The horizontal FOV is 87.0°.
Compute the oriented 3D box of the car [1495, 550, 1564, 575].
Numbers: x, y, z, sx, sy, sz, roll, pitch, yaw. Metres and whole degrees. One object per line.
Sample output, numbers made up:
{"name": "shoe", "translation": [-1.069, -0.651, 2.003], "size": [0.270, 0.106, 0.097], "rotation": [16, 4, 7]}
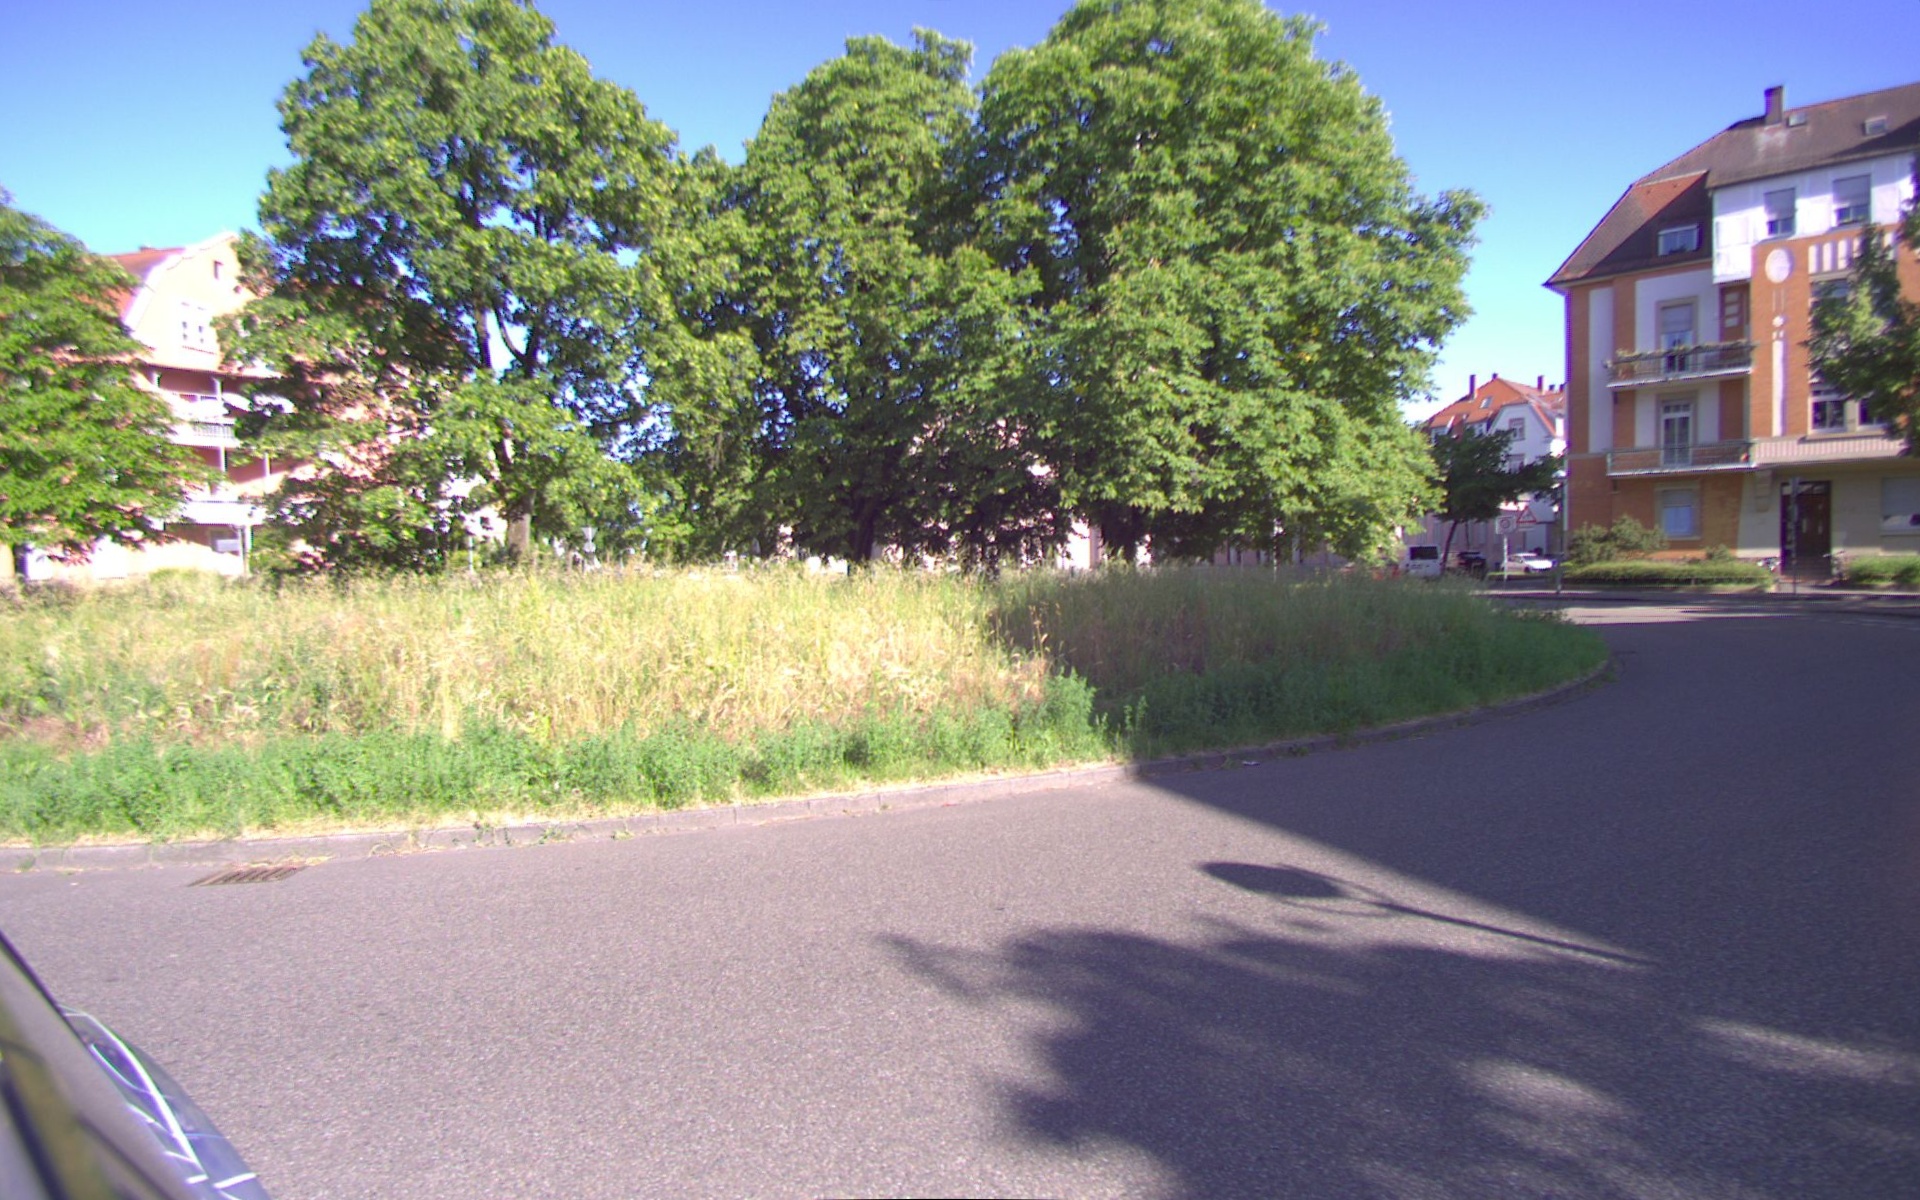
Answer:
{"name": "car", "translation": [36.185, -2.364, 64.414], "size": [1.716, 1.491, 4.008], "rotation": [-2, 2, -9]}

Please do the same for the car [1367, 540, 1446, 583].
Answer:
{"name": "car", "translation": [22.290, -1.927, 50.652], "size": [1.970, 2.028, 4.004], "rotation": [-1, 2, -3]}

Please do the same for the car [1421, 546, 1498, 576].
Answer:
{"name": "car", "translation": [26.834, -2.082, 54.530], "size": [1.716, 1.491, 4.008], "rotation": [-2, 2, -9]}

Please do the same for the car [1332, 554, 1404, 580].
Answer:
{"name": "car", "translation": [19.852, -1.619, 49.414], "size": [1.743, 1.187, 4.003], "rotation": [-1, 2, -3]}
